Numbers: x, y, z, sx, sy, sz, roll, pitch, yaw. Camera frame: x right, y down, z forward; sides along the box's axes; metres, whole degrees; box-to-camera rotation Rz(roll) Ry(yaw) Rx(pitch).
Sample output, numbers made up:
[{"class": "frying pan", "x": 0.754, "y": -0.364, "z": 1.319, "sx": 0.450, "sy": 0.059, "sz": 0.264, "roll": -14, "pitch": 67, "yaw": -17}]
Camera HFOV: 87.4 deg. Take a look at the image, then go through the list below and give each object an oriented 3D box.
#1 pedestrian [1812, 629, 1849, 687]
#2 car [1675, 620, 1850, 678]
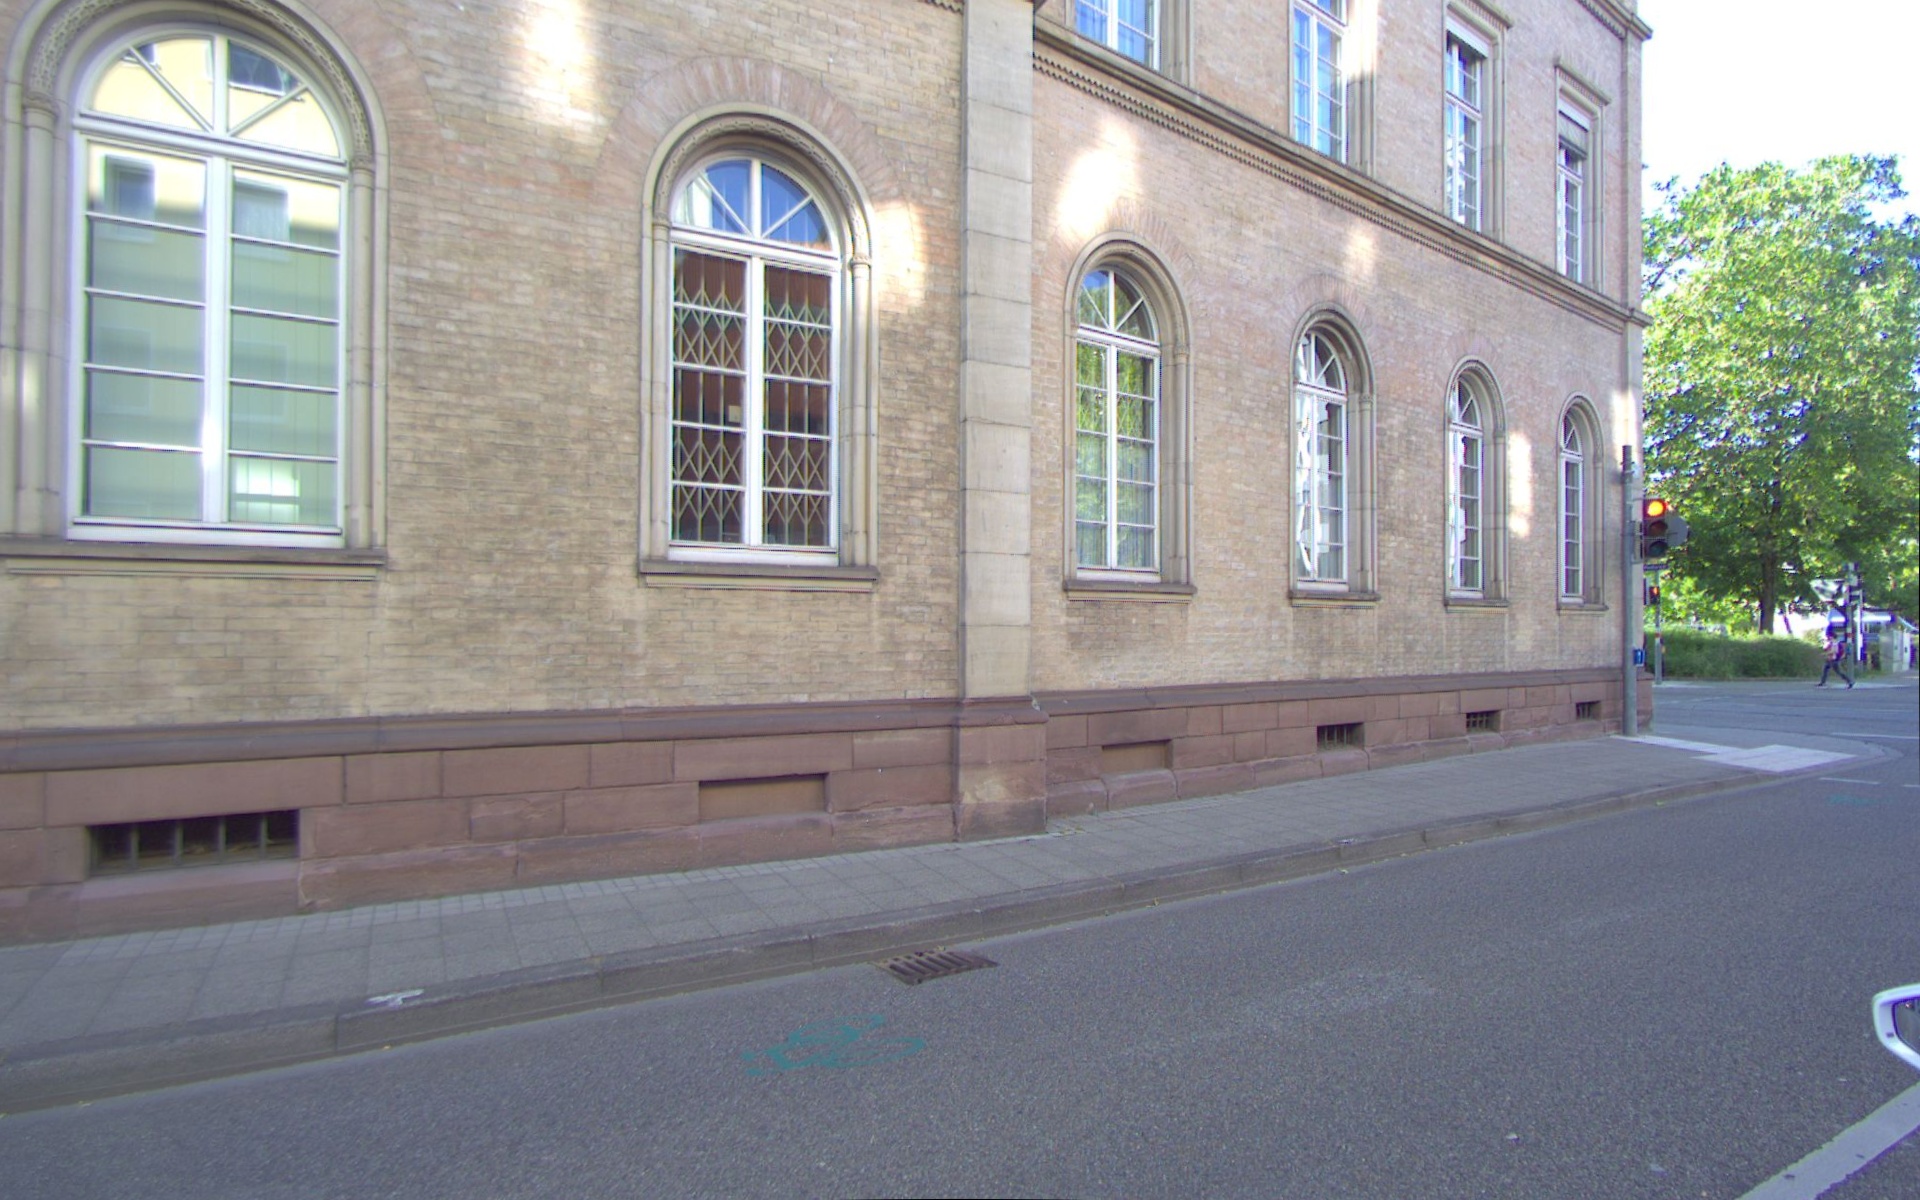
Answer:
[{"class": "pedestrian", "x": 24.813, "y": 1.649, "z": 28.649, "sx": 0.702, "sy": 1.620, "sz": 0.616, "roll": -1, "pitch": -1, "yaw": 33}, {"class": "car", "x": 26.359, "y": 1.565, "z": 33.115, "sx": 1.888, "sy": 1.801, "sz": 4.193, "roll": 1, "pitch": -2, "yaw": -37}]
